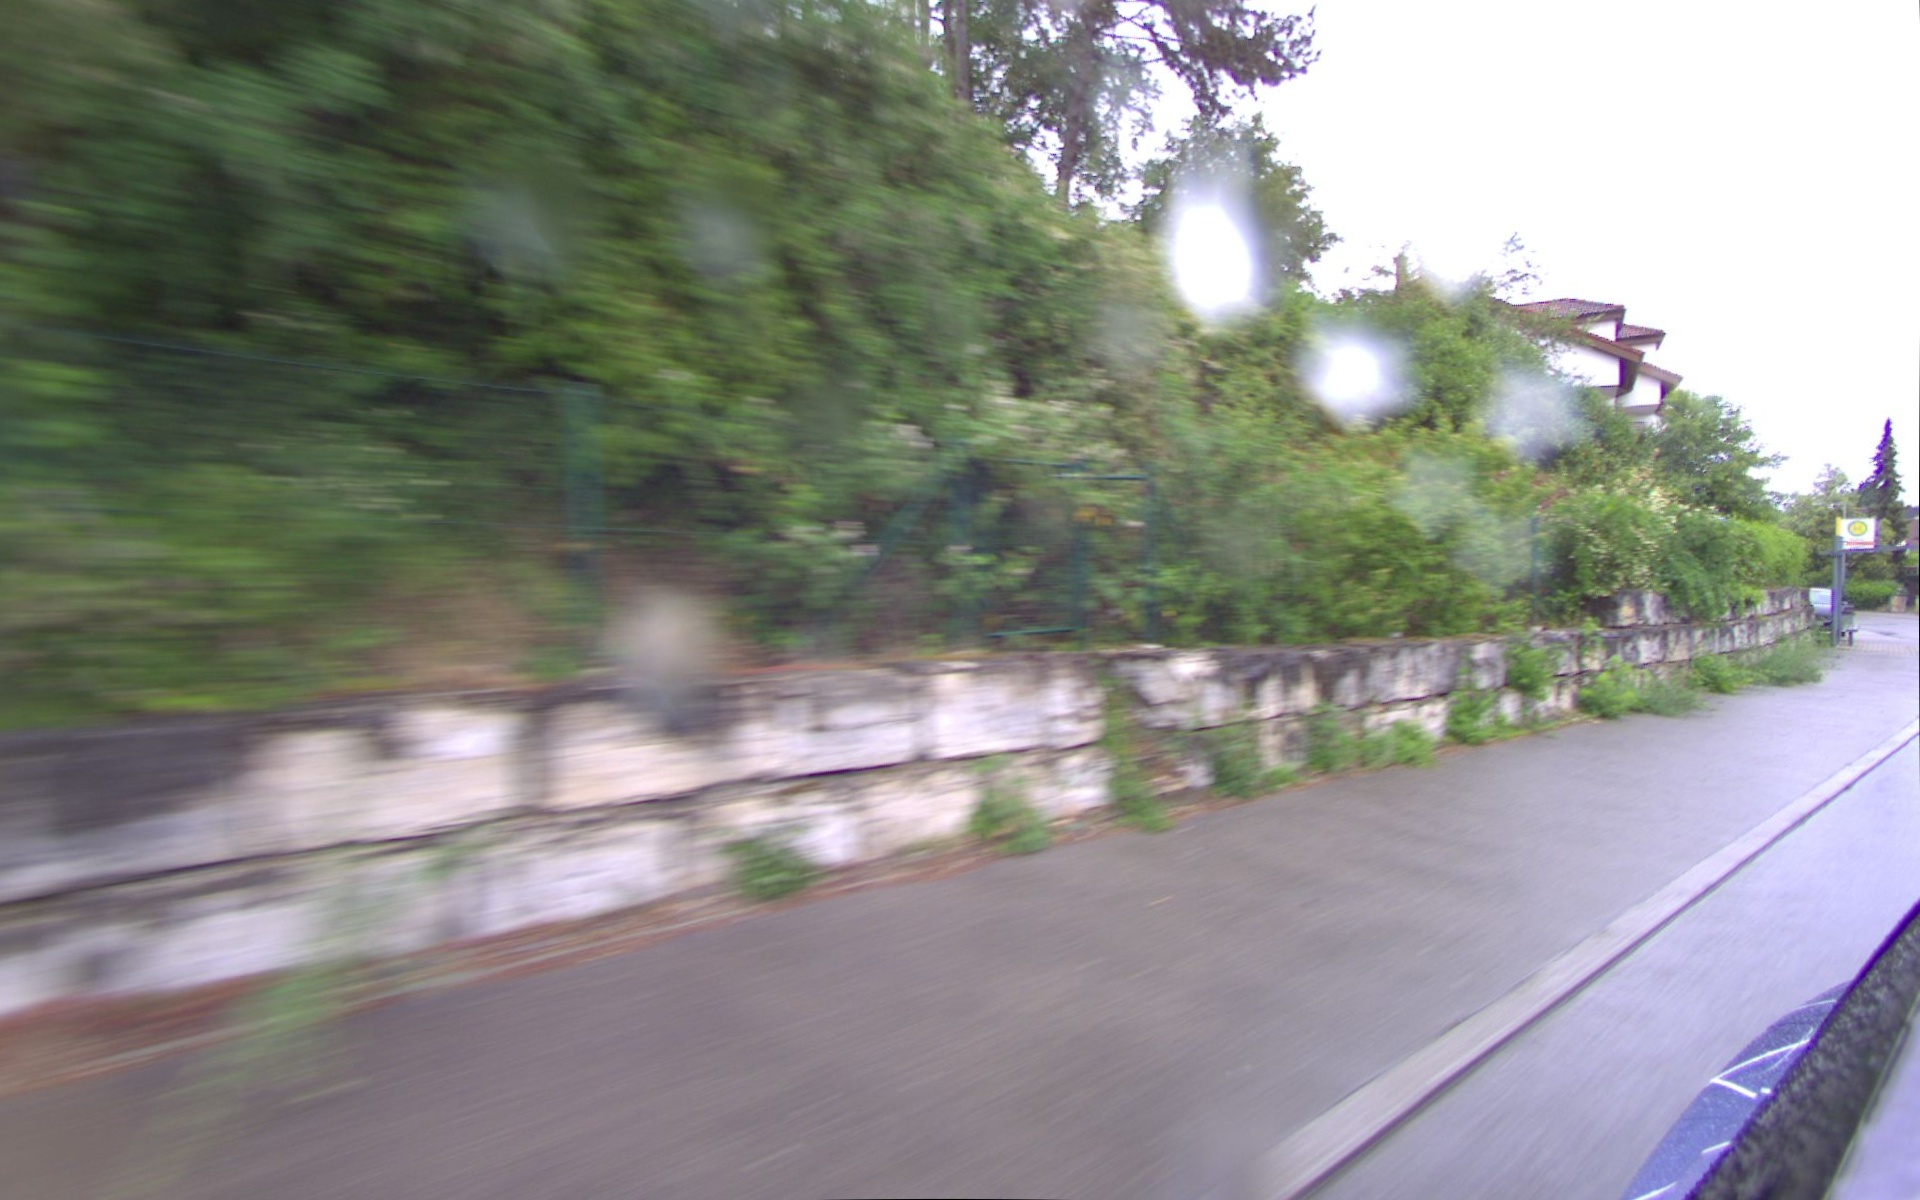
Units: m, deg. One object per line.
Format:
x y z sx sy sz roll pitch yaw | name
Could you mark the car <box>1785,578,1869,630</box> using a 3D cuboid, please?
27.402 0.081 32.092 1.702 1.472 3.967 4 3 37 | car
